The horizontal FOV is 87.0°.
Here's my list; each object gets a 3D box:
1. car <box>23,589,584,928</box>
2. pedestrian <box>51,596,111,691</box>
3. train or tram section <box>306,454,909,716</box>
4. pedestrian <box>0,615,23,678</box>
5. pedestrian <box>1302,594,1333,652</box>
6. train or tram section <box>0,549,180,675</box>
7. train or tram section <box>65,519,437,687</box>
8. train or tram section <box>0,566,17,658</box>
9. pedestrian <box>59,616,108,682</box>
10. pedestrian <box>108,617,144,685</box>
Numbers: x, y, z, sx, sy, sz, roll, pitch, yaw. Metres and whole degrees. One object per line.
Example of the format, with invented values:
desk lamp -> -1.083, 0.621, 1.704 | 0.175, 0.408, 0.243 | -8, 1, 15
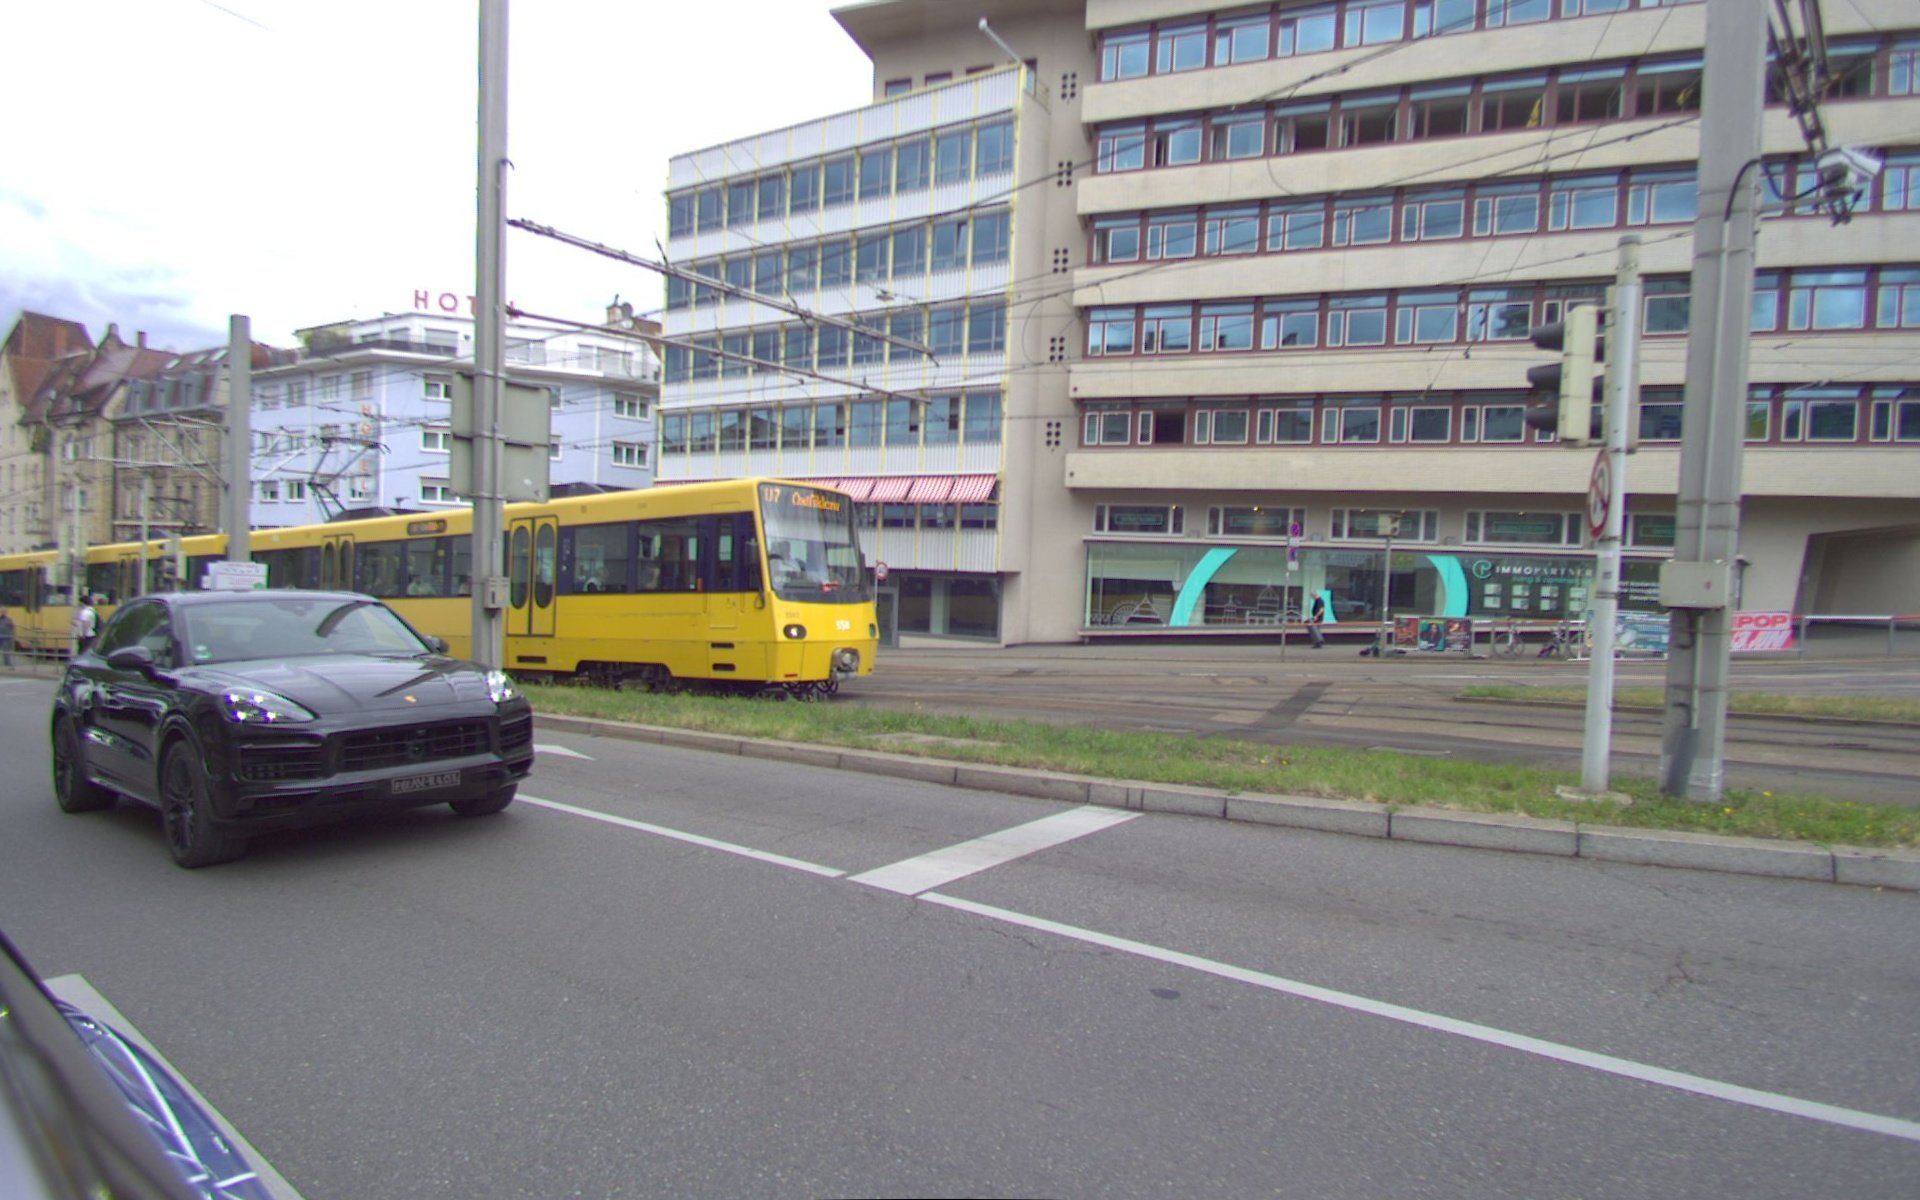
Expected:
car -> -4.972, 0.821, 7.366 | 4.775, 1.697, 2.008 | -1, 0, 38
pedestrian -> -20.358, 0.987, 23.464 | 0.953, 2.082, 1.034 | 1, 1, -39
train or tram section -> -7.624, -0.117, 19.466 | 14.435, 3.691, 2.858 | -1, -1, 34
pedestrian -> -27.537, 1.307, 28.736 | 1.038, 1.692, 1.108 | 5, 2, 32
pedestrian -> 10.681, 0.681, 30.259 | 0.779, 1.721, 0.754 | -1, -1, 25
train or tram section -> -31.567, 0.412, 34.561 | 14.178, 3.691, 2.861 | -1, 0, 31
train or tram section -> -19.510, 0.164, 27.188 | 14.181, 3.691, 2.860 | -1, -1, 32
train or tram section -> -43.672, 0.488, 41.940 | 14.178, 3.585, 2.902 | 0, 1, 31
pedestrian -> -22.231, 1.223, 25.662 | 0.997, 1.637, 0.670 | -1, -1, 31
pedestrian -> -19.040, 1.158, 23.124 | 0.569, 1.475, 0.677 | 2, 0, -39
